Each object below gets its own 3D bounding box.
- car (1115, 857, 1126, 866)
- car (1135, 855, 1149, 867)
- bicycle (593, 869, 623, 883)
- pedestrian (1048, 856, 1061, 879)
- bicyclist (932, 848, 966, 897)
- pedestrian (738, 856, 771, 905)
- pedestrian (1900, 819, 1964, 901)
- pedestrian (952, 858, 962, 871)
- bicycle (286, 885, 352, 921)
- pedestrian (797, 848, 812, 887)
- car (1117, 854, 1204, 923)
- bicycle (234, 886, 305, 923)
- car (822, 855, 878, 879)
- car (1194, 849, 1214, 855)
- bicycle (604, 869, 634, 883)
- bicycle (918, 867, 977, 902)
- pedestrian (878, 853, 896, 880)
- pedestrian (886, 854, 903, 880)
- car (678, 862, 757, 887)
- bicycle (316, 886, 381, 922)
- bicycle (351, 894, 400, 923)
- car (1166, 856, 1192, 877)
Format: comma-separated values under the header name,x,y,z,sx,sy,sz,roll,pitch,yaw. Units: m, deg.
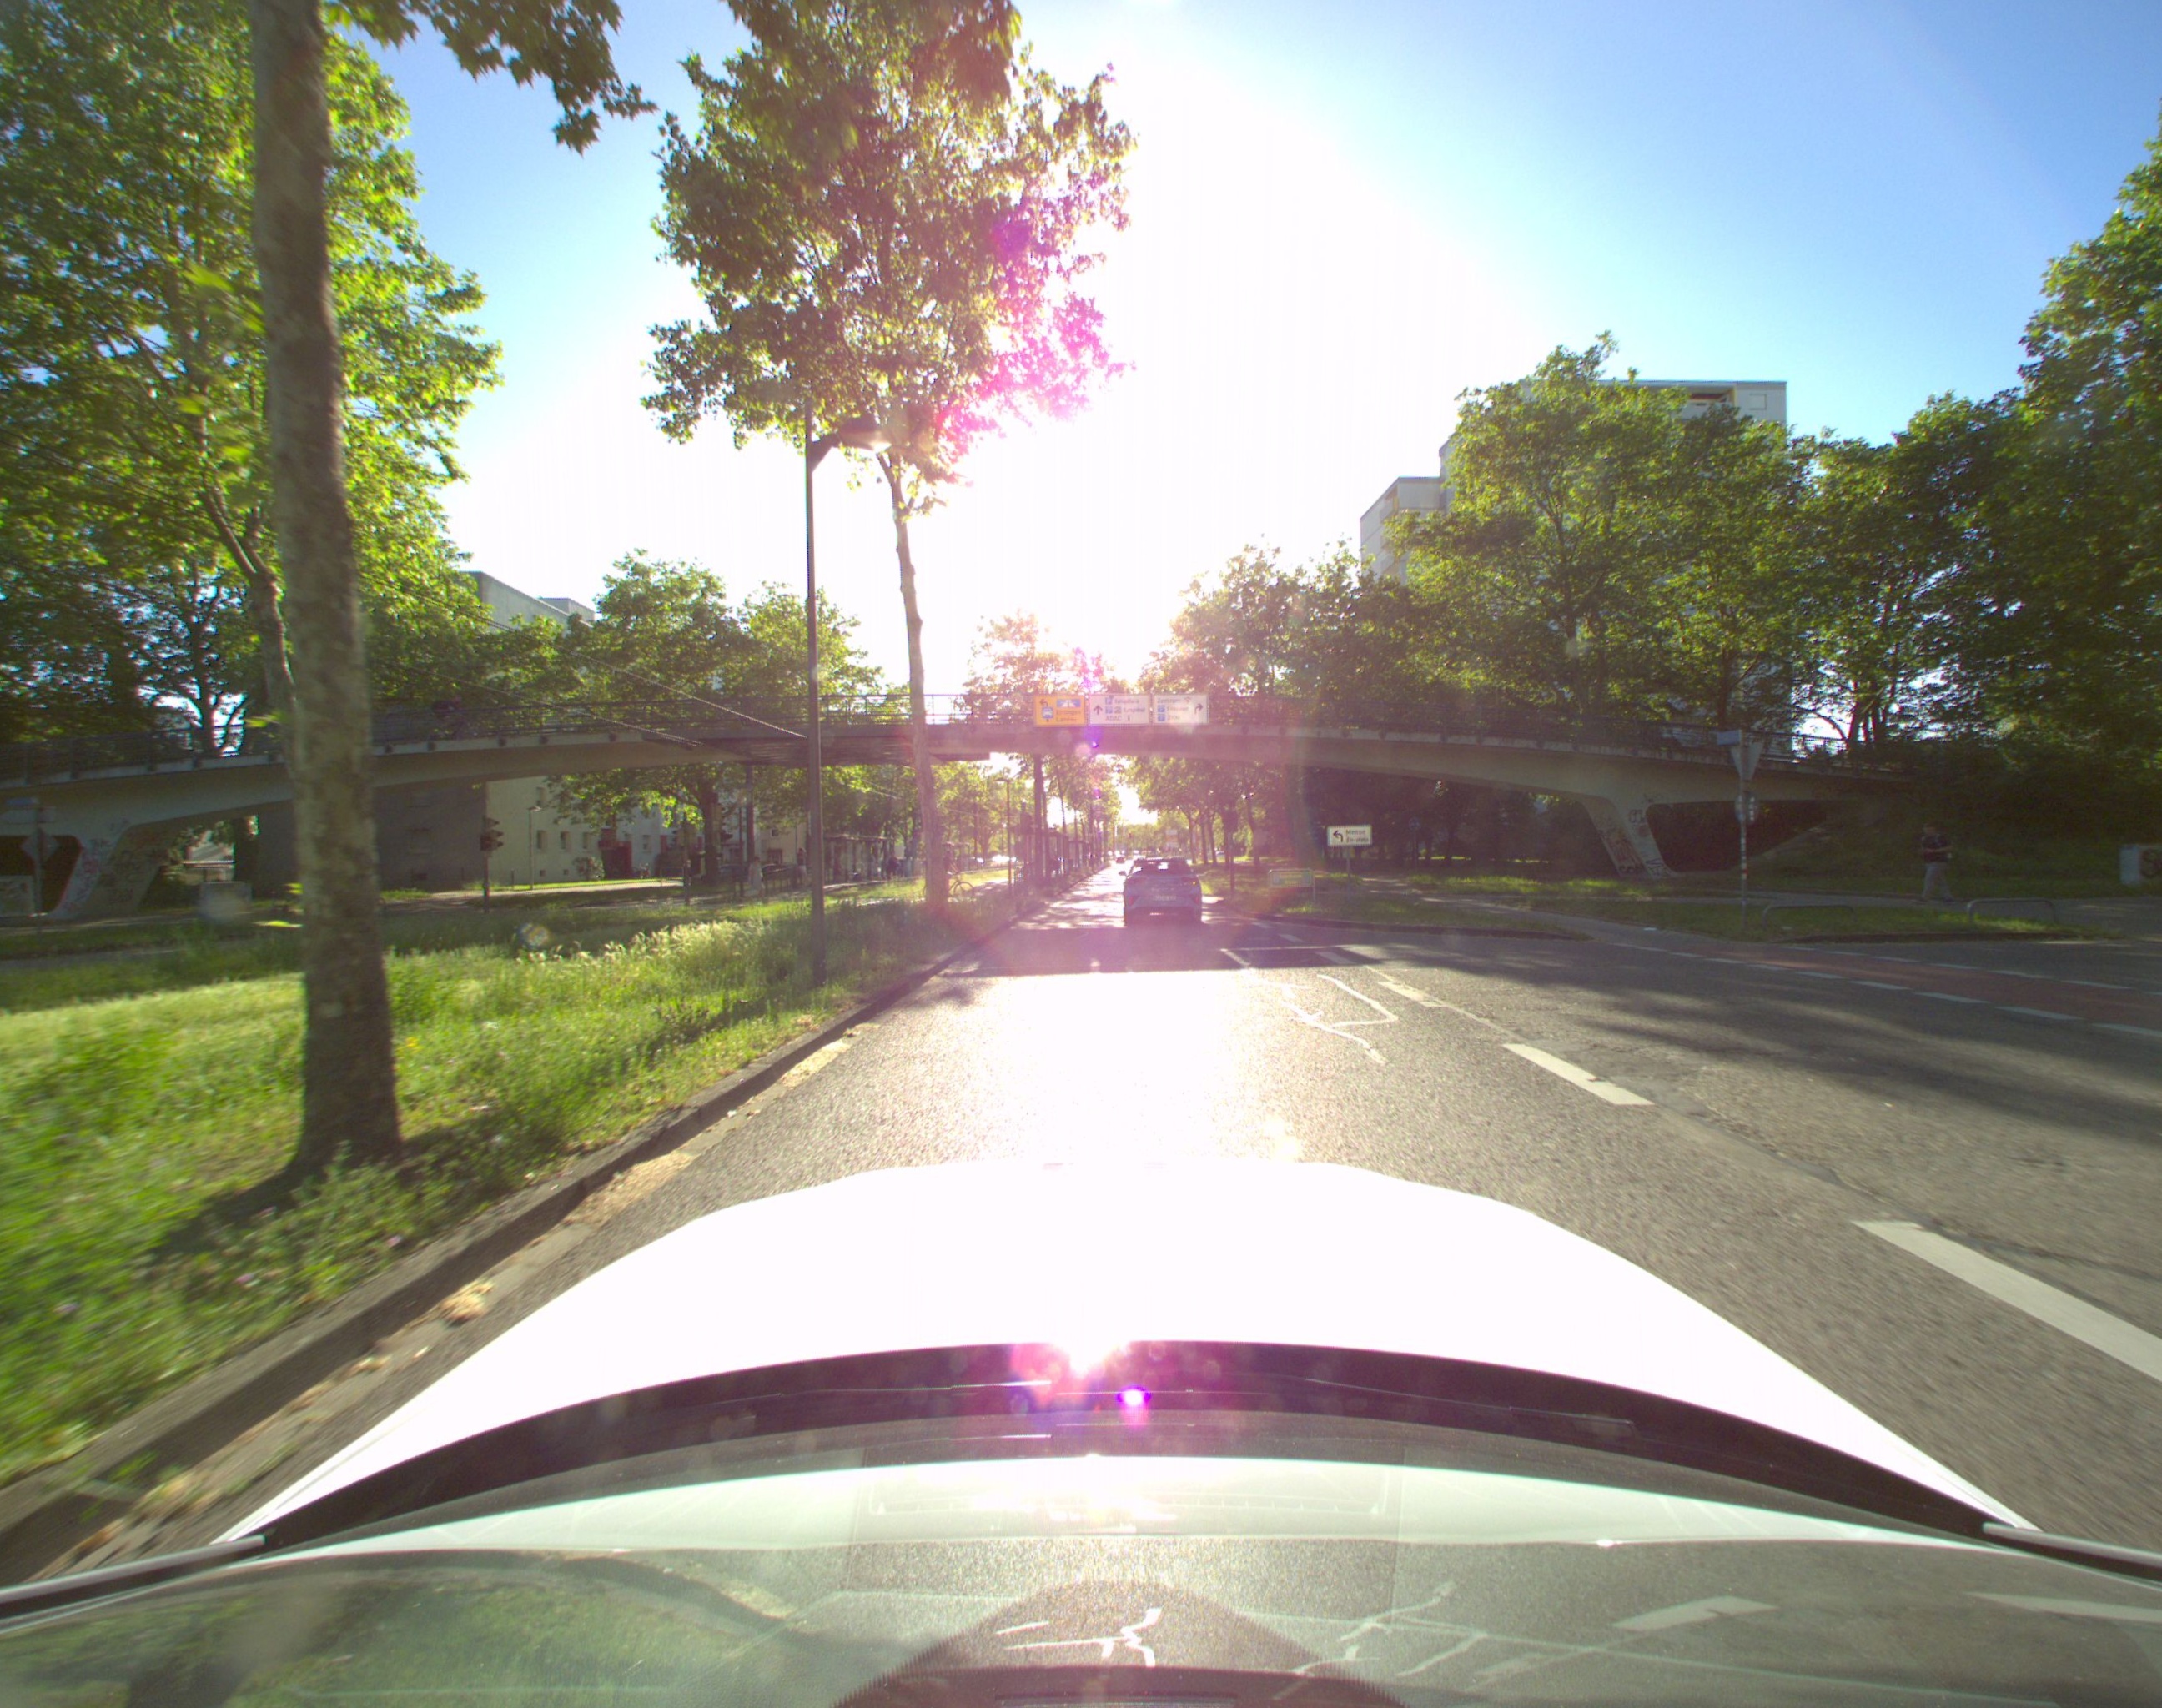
name,x,y,z,sx,sy,sz,roll,pitch,yaw
car,6.620,1.286,137.381,1.704,1.603,3.351,-1,-1,2
car,7.923,0.851,106.342,1.632,1.494,3.505,0,0,2
bicycle,-34.165,1.563,58.830,0.693,0.928,2.595,0,1,-1
pedestrian,-1.469,0.743,45.491,0.732,1.252,0.587,0,-1,-3
bicyclist,-4.544,0.631,28.024,0.949,1.632,0.816,1,0,5
pedestrian,-11.371,0.918,28.393,0.723,1.674,1.048,0,-1,-1
pedestrian,18.889,0.124,18.081,0.657,1.777,0.738,-1,1,-7
pedestrian,-11.208,0.954,73.751,0.691,1.127,0.662,-4,-1,3
bicycle,-24.220,1.542,25.917,0.432,1.009,1.687,0,0,3
pedestrian,-12.789,0.613,37.693,0.506,1.770,0.478,1,-1,-38
car,1.835,0.759,19.910,1.770,1.483,4.100,-1,0,0
bicycle,-24.678,1.530,24.796,0.432,1.009,1.687,0,0,3
car,-20.781,1.153,73.402,4.520,2.063,1.879,0,1,-36
car,27.315,-0.505,180.690,3.949,1.338,1.739,0,-1,29
bicycle,-33.329,1.563,58.800,0.693,0.928,2.595,0,1,-1
bicycle,-4.574,1.040,28.028,1.822,1.147,0.816,1,0,4
pedestrian,-11.776,0.767,49.392,0.706,1.634,0.736,-3,-1,37
pedestrian,-11.048,0.775,48.231,0.675,1.514,0.648,-3,-1,38
car,-22.634,1.232,50.786,4.218,1.428,1.681,0,1,-36
bicycle,-22.810,1.538,25.394,0.432,1.009,1.687,0,0,3
bicycle,-21.409,1.648,24.737,0.432,0.779,1.175,0,0,2
car,8.947,1.165,74.885,1.974,1.792,4.617,-2,-1,3
